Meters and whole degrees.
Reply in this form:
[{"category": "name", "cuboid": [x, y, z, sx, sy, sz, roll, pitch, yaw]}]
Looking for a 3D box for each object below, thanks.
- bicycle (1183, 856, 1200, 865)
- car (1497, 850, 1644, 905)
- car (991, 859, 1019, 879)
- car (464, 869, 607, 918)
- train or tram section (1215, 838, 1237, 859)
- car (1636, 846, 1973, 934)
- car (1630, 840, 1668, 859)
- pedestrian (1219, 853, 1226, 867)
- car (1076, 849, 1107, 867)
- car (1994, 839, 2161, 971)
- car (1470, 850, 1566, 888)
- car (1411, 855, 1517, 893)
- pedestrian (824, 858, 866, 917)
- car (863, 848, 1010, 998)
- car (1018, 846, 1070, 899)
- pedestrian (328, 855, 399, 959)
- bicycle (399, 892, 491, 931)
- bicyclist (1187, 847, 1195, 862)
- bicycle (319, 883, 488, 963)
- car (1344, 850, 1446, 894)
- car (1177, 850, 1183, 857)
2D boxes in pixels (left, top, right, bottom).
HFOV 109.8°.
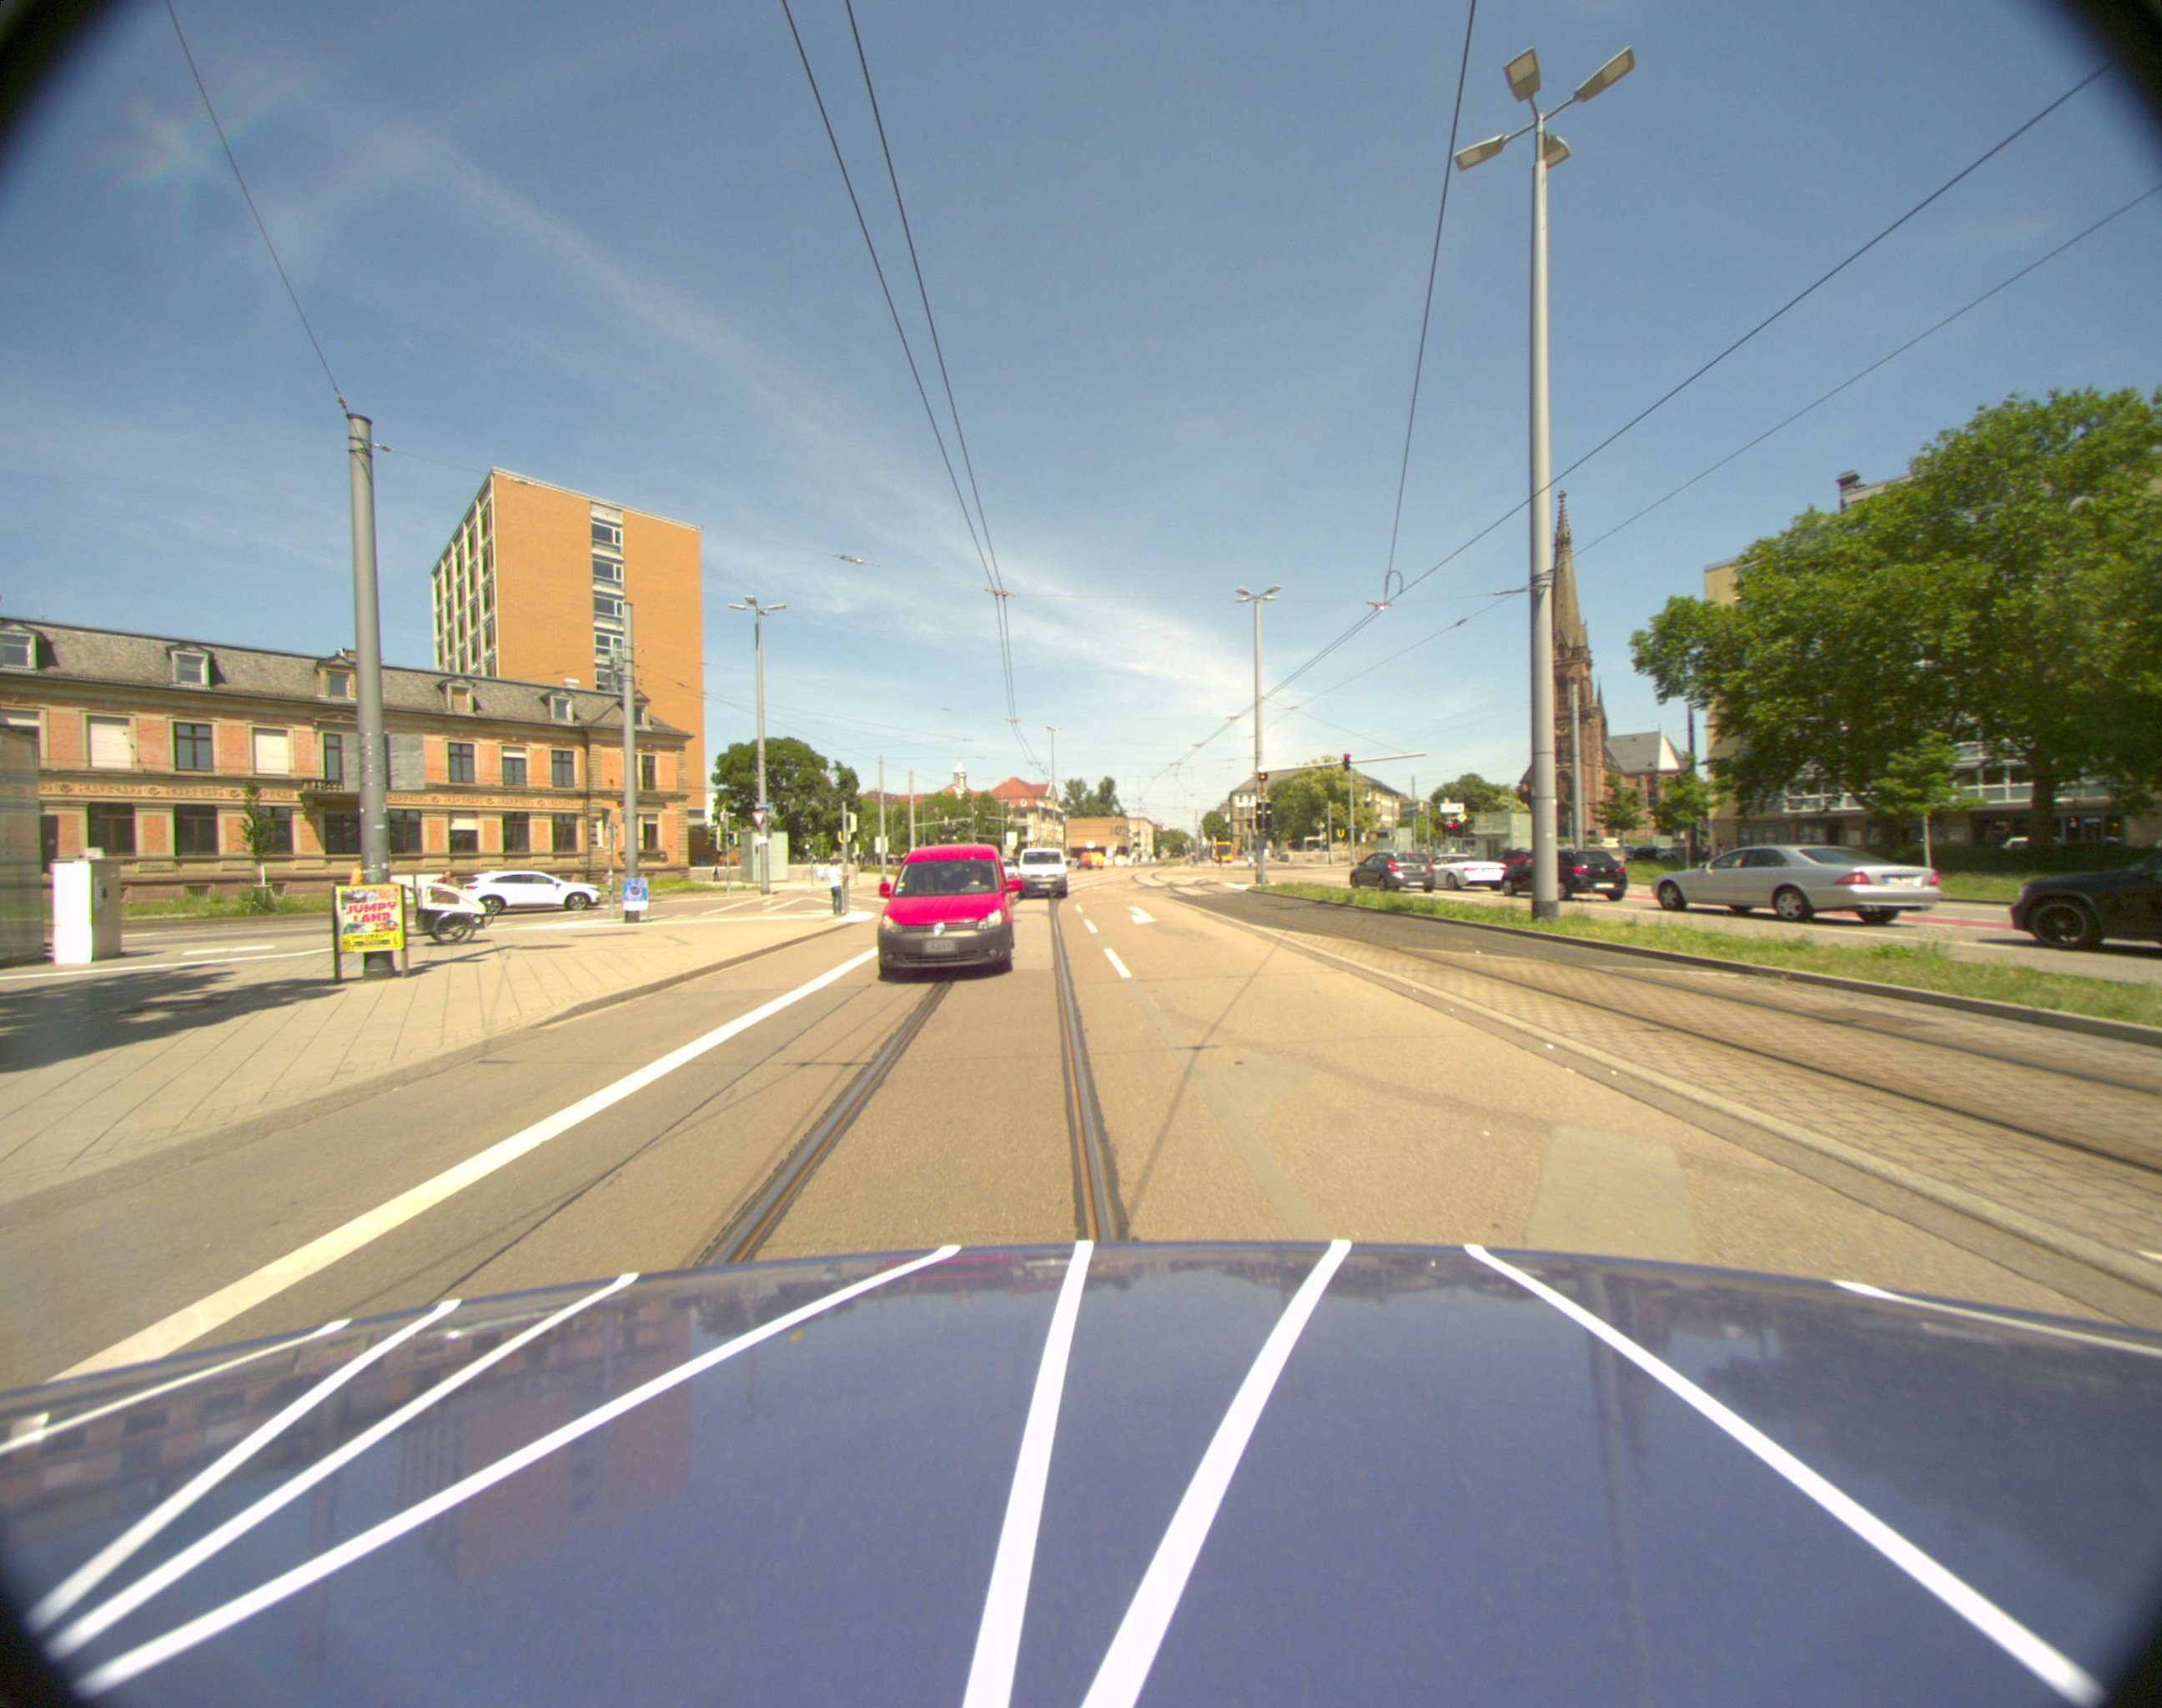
[{"category": "bicycle", "cuboid": [12.668, 0.715, 87.194, 1.906, 0.973, 0.528, -1, 1, -7]}, {"category": "car", "cuboid": [14.099, 0.631, 22.174, 1.675, 1.453, 3.902, 0, 0, -2]}, {"category": "car", "cuboid": [-5.527, 1.068, 54.975, 1.573, 1.346, 3.454, -1, 0, -14]}, {"category": "car", "cuboid": [-20.476, 1.417, 28.611, 4.184, 1.596, 1.703, -1, 0, -40]}, {"category": "train or tram section", "cuboid": [22.265, -0.836, 117.179, 2.840, 3.195, 9.114, -1, 0, 8]}, {"category": "car", "cuboid": [14.506, 0.615, 15.822, 1.999, 1.521, 5.130, 0, 0, -2]}, {"category": "car", "cuboid": [39.092, -0.326, 52.295, 1.986, 1.148, 0.503, -4, 0, 15]}, {"category": "pedestrian", "cuboid": [16.458, 0.685, 88.445, 0.657, 1.661, 0.449, -2, 1, -18]}, {"category": "car", "cuboid": [1.245, 0.493, 92.659, 2.002, 2.002, 4.586, -2, 0, -25]}, {"category": "car", "cuboid": [14.176, 0.624, 8.783, 1.826, 1.617, 4.525, 0, 0, 1]}, {"category": "car", "cuboid": [19.092, 0.621, 33.447, 1.538, 1.588, 4.399, 0, 0, -3]}, {"category": "car", "cuboid": [14.239, 0.711, 28.558, 1.711, 1.291, 4.202, 0, 0, -3]}, {"category": "pedestrian", "cuboid": [-7.301, 1.015, 23.552, 0.808, 1.769, 0.876, -1, 1, 30]}, {"category": "car", "cuboid": [-2.028, 0.848, 11.511, 1.756, 1.802, 4.094, -2, 0, -7]}, {"category": "car", "cuboid": [-1.469, 0.685, 30.393, 1.874, 1.954, 3.822, -2, 0, -2]}, {"category": "pedestrian", "cuboid": [-12.855, 0.915, 13.612, 0.812, 1.765, 0.826, 0, 2, 44]}, {"category": "bicycle", "cuboid": [-18.633, 1.669, 22.322, 2.023, 0.999, 0.724, -1, 0, -37]}, {"category": "bicyclist", "cuboid": [12.651, 0.035, 87.258, 0.813, 1.678, 0.528, -1, 1, -6]}, {"category": "bicycle", "cuboid": [-12.470, 1.216, 14.032, 1.096, 1.243, 2.225, -1, 0, 44]}, {"category": "car", "cuboid": [11.240, 0.610, 27.519, 1.848, 1.471, 4.330, 0, 0, -1]}, {"category": "car", "cuboid": [24.880, -0.091, 190.390, 1.439, 1.586, 4.002, -1, 0, 8]}]
